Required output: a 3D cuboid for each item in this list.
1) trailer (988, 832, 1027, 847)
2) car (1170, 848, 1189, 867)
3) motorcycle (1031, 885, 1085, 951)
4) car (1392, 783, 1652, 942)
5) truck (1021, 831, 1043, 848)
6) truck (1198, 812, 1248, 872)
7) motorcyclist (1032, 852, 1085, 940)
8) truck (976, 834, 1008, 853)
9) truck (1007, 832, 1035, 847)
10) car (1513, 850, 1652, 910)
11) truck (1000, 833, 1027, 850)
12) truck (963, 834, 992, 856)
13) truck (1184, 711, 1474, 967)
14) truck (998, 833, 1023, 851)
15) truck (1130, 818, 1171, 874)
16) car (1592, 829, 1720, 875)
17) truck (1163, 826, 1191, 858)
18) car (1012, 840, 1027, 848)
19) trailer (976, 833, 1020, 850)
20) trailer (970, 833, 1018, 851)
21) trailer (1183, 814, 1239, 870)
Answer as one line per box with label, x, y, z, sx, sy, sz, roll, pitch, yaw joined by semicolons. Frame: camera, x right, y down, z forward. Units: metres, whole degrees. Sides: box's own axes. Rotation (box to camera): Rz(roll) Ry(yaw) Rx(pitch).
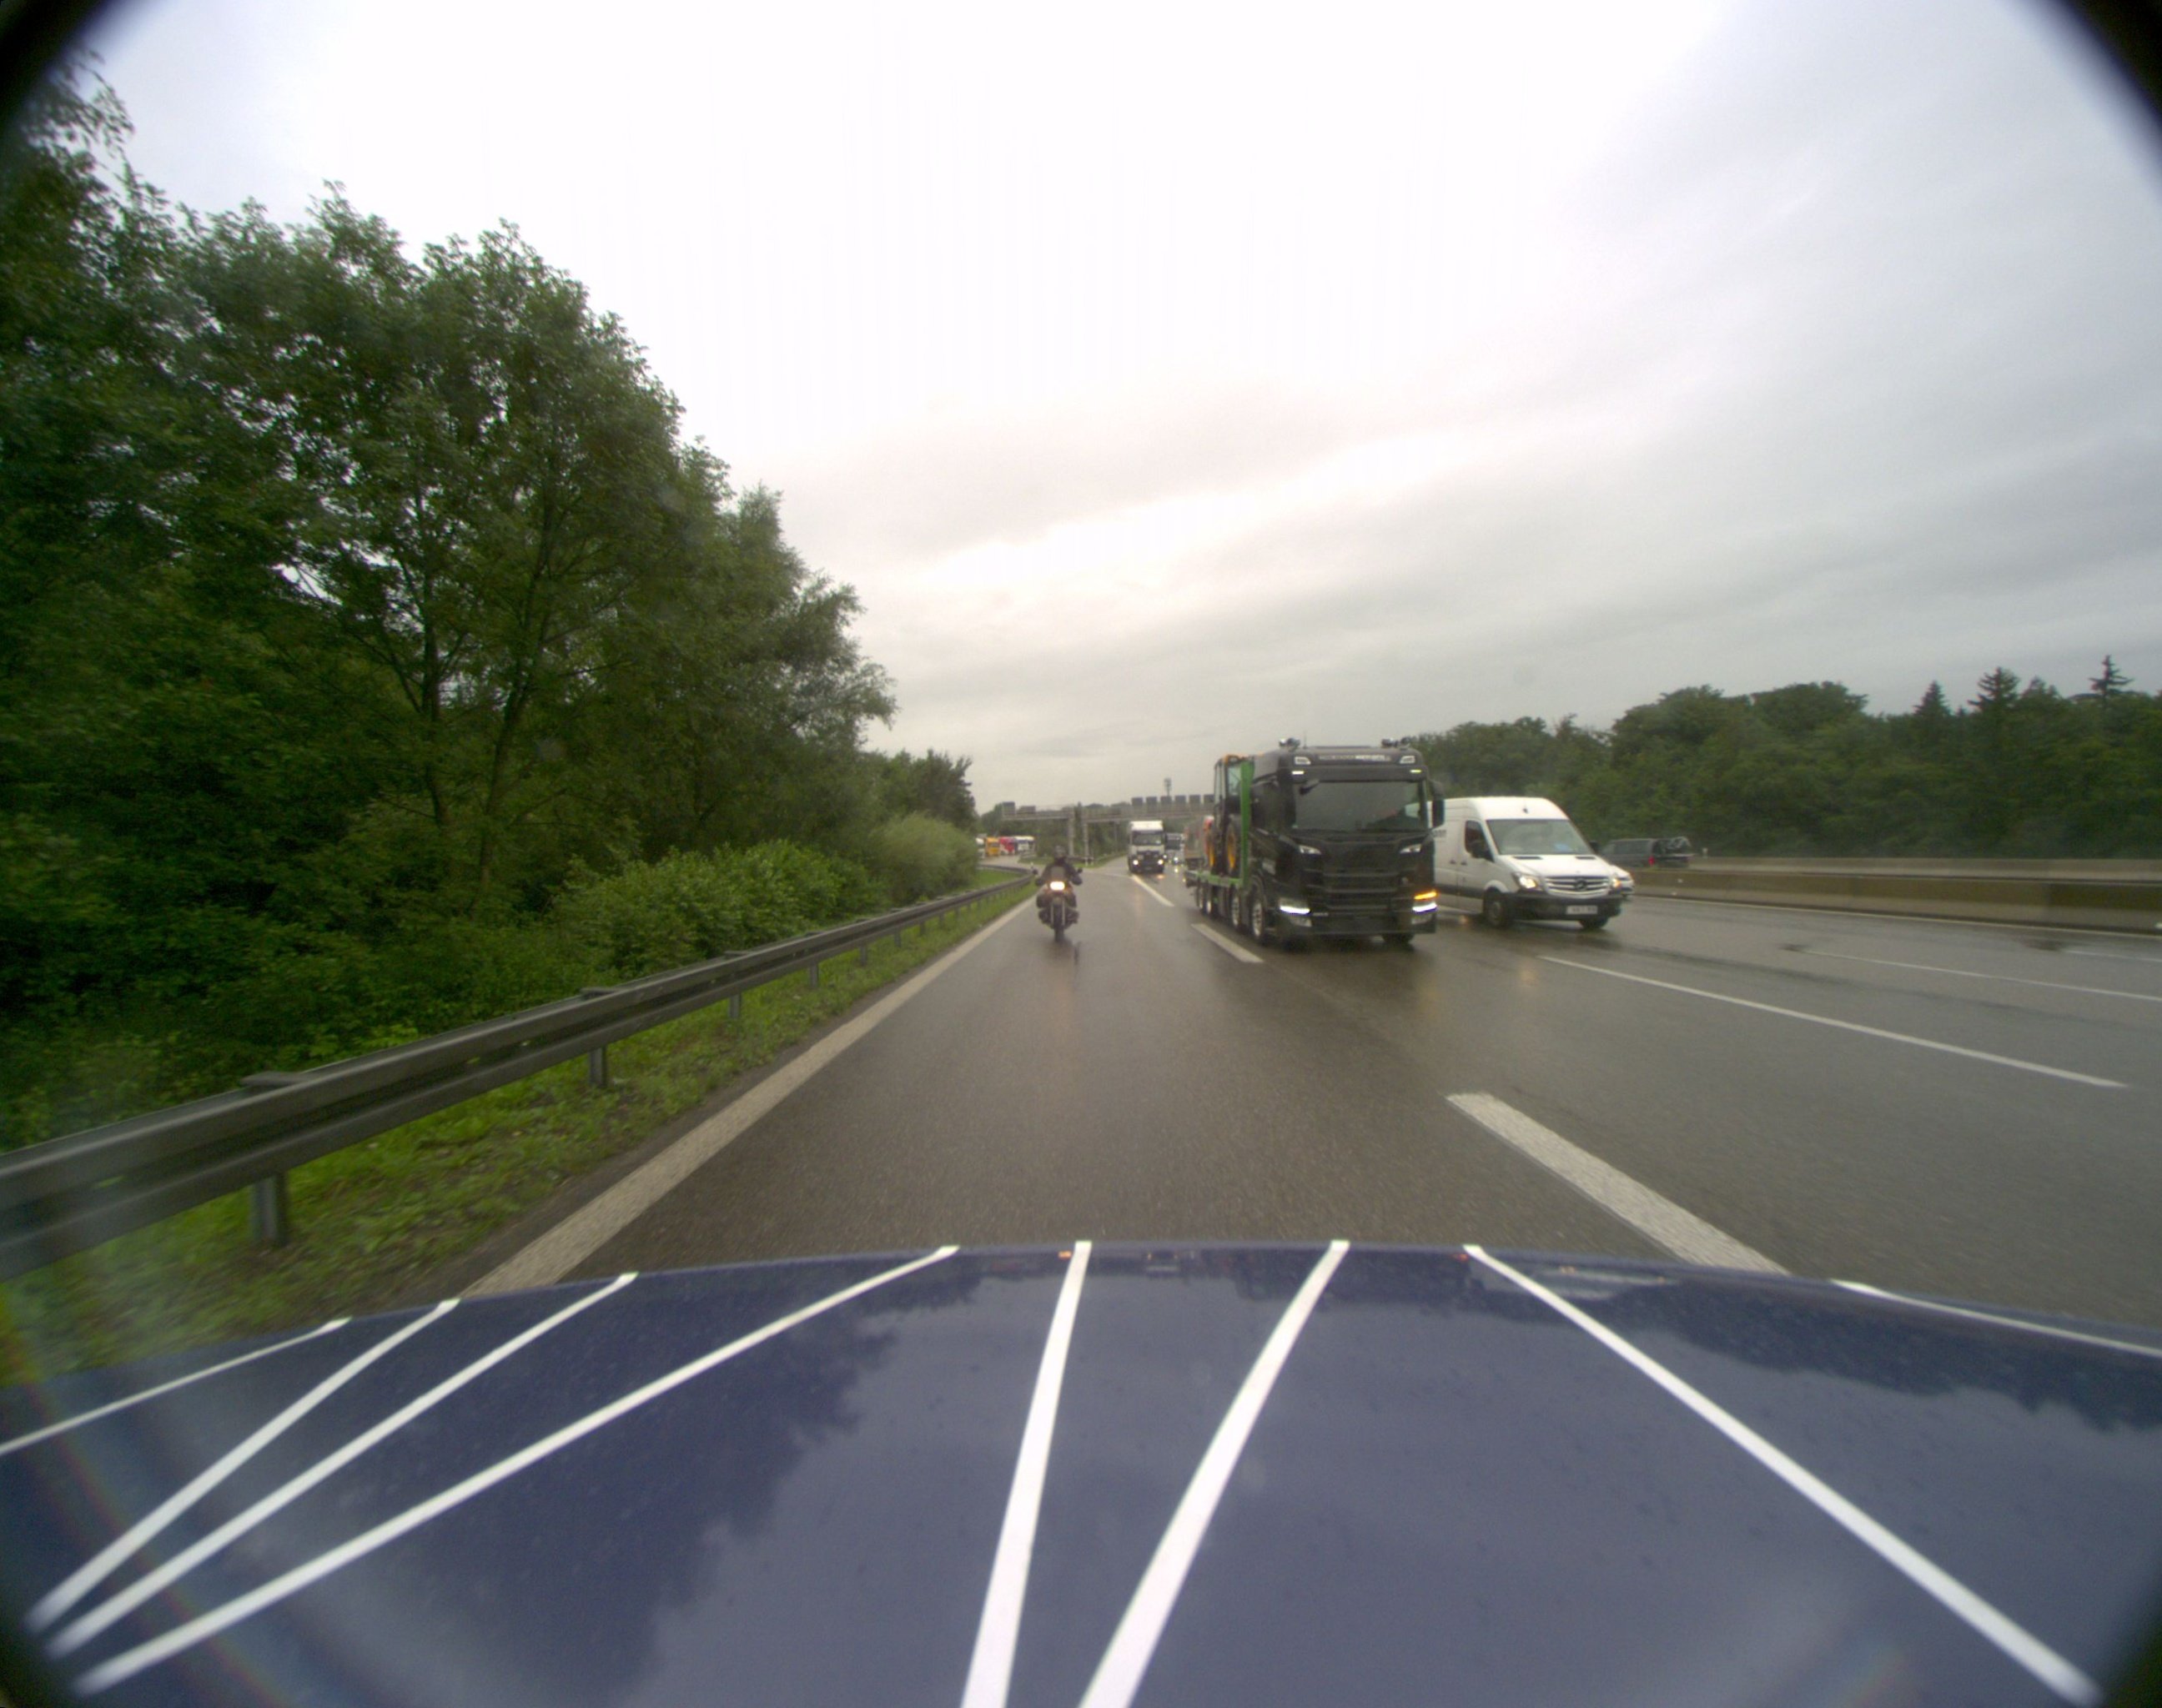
trailer;-20.230;-3.964;208.980;3.252;4.069;13.494;-3;3;-42
car;11.140;0.370;85.987;1.762;1.762;3.999;-5;2;3
motorcycle;-0.389;1.165;14.412;0.878;1.016;2.352;-1;1;1
car;8.612;0.105;15.709;2.220;2.614;5.844;-1;1;3
truck;-13.770;-4.084;213.196;3.252;4.362;5.797;-4;3;-42
truck;9.552;-0.821;51.445;2.633;3.842;4.589;-1;1;3
motorcyclist;-0.402;0.751;14.319;0.878;1.559;1.373;-1;1;1
truck;-19.084;-2.225;161.765;2.845;3.897;8.107;-3;2;-38
truck;-16.187;-3.933;204.520;3.252;4.069;7.915;-3;3;-42
car;15.763;0.755;24.149;1.778;1.745;4.000;-1;0;0
truck;-15.999;-2.965;180.357;2.905;3.897;6.537;-3;3;-42
truck;-19.511;-1.710;143.373;2.836;3.891;5.395;-3;2;-40
truck;4.290;-0.265;16.600;2.838;3.568;11.797;-1;1;2
truck;-16.364;-2.747;175.311;3.252;3.897;5.007;-3;3;-42
truck;5.414;-0.699;59.656;2.925;4.076;6.719;-1;1;4
car;27.197;-0.166;36.217;2.057;1.868;5.245;-5;2;0
truck;13.728;-1.804;109.493;3.354;4.048;12.572;-5;2;6
car;-15.883;-2.588;197.708;1.851;1.848;3.989;-4;3;-40
trailer;-20.311;-3.070;185.104;2.881;3.897;13.895;-3;3;-42
trailer;-20.864;-2.836;180.319;3.252;3.897;14.788;-3;3;-42
trailer;9.949;-0.934;59.565;2.633;3.842;13.676;-1;1;3
